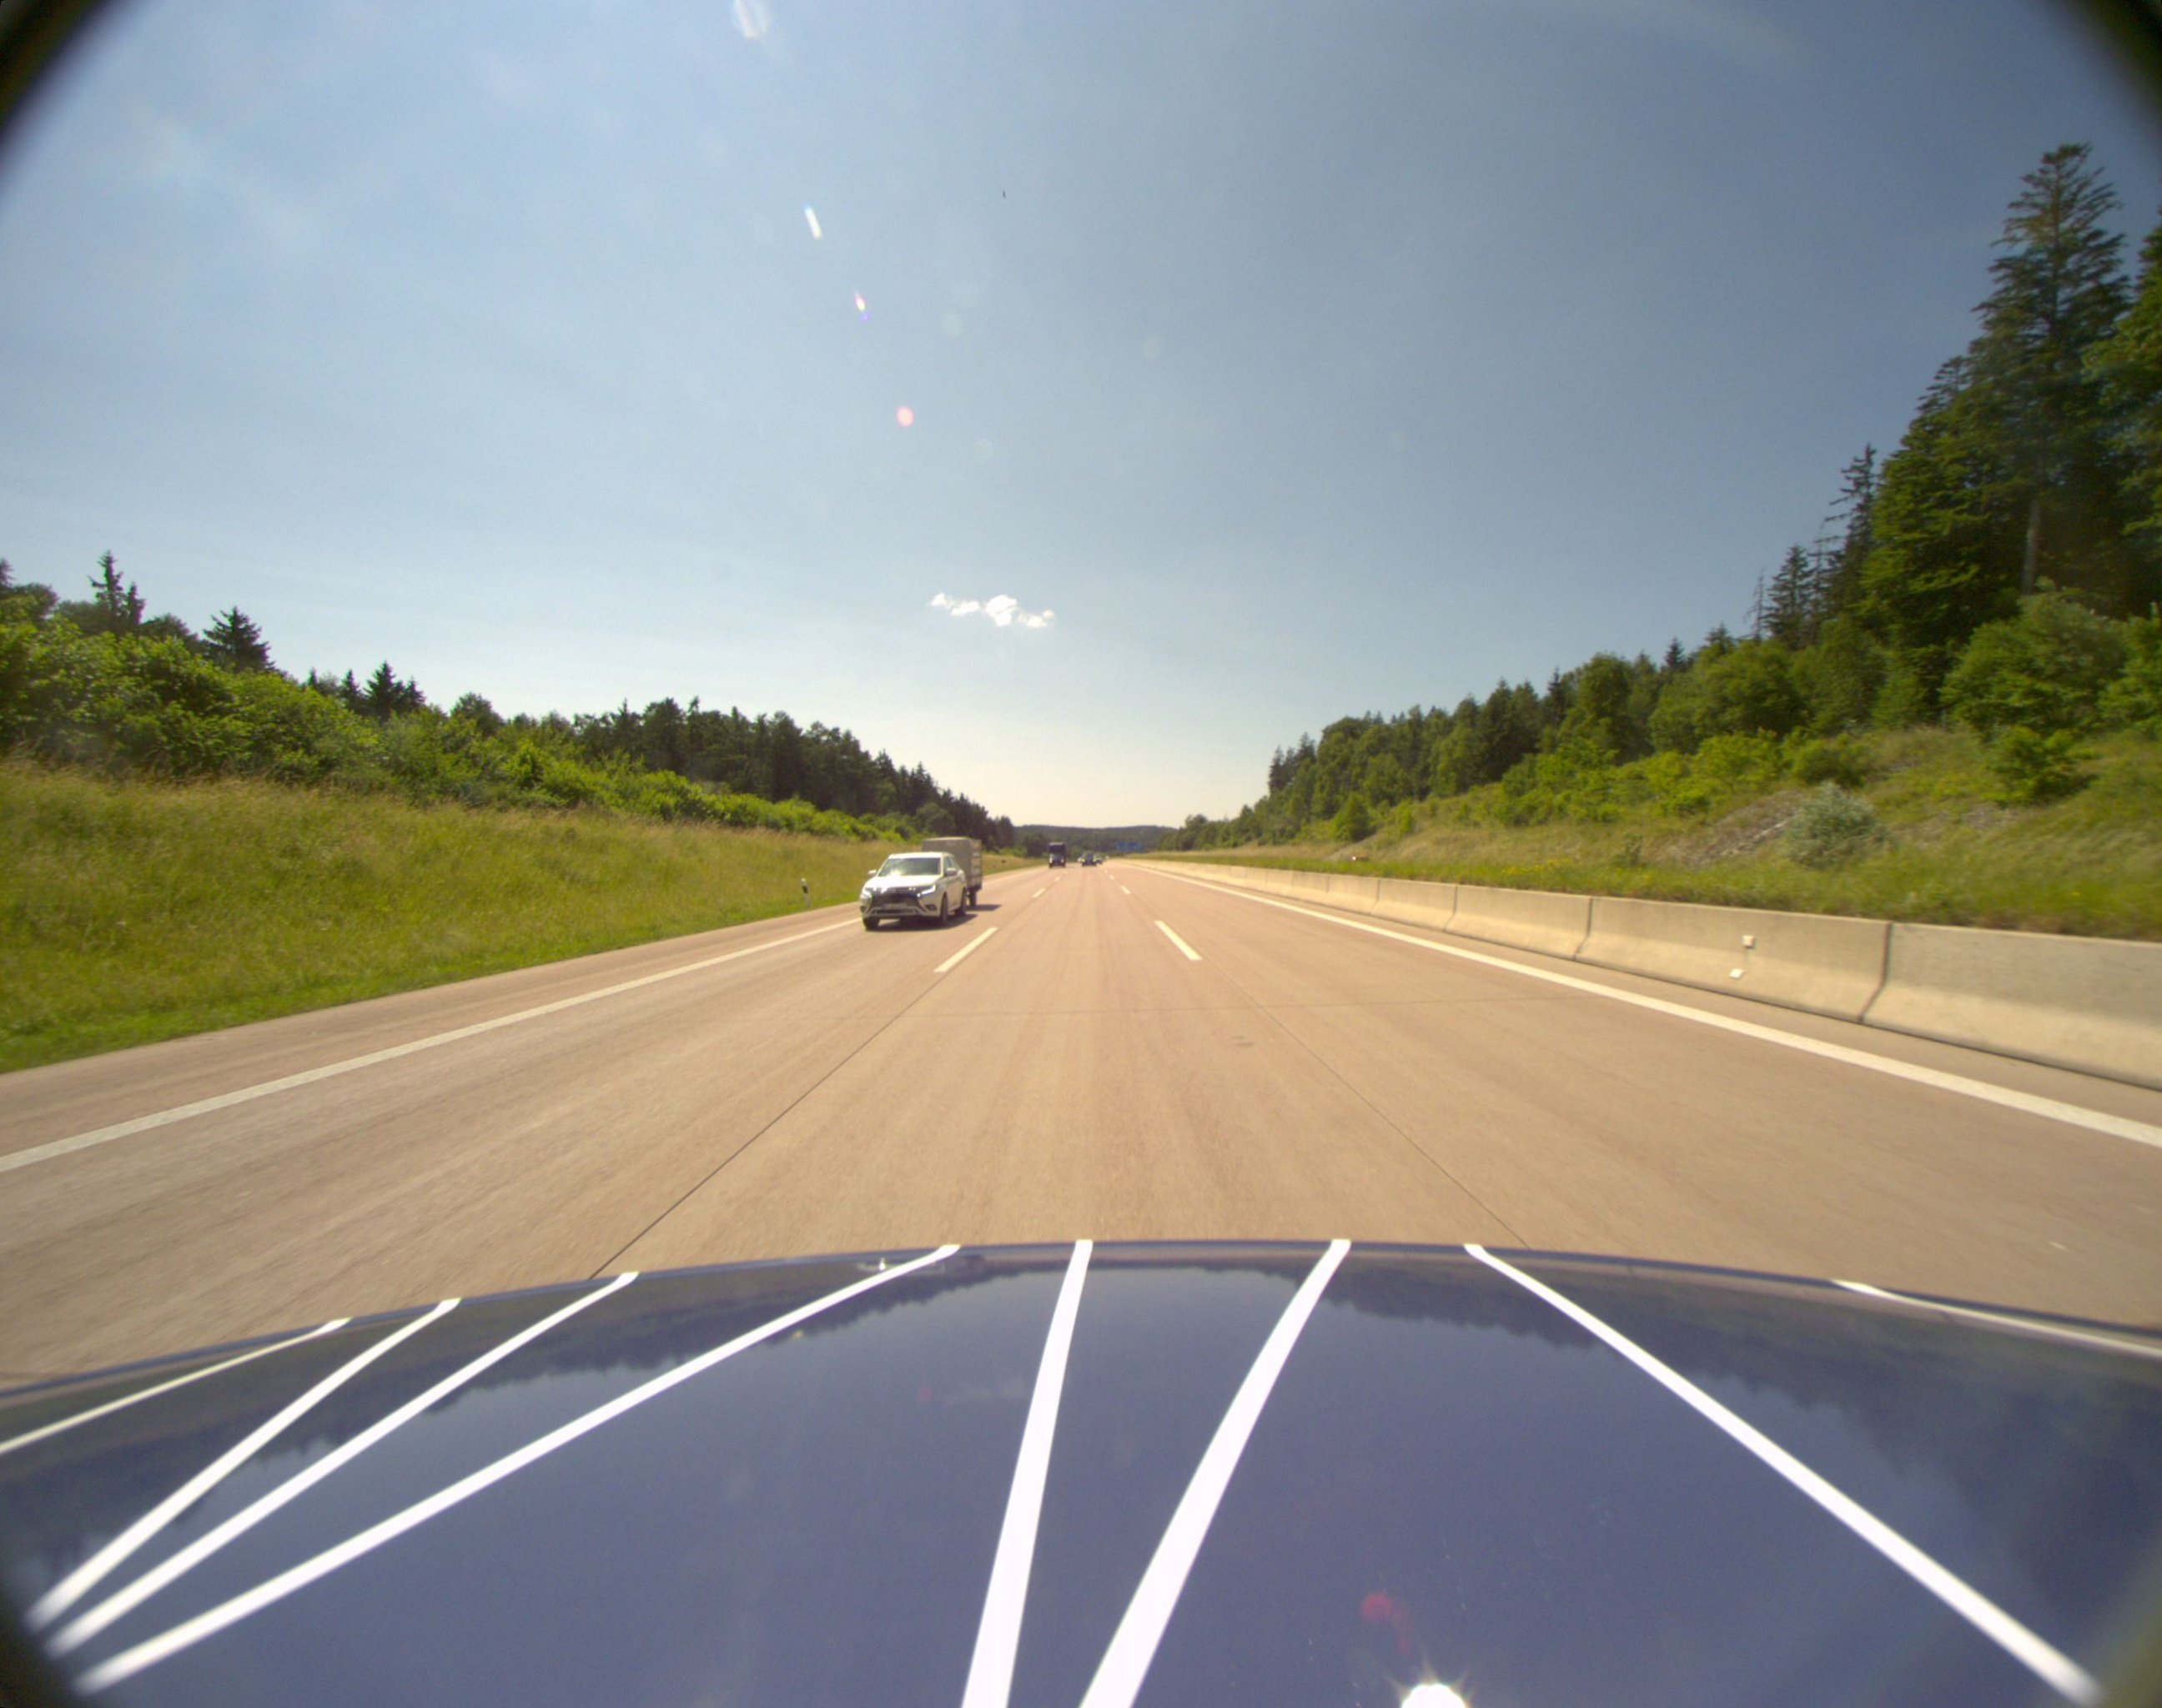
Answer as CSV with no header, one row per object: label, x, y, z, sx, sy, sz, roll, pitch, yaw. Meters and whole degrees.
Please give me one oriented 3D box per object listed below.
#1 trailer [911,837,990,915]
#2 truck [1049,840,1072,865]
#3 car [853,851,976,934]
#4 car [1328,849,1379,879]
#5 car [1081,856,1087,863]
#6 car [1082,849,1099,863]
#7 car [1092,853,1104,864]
trailer,-3.898,0.616,23.328,1.662,2.151,4.015,-2,0,0
truck,-2.694,-0.156,100.134,2.508,3.199,7.785,-2,0,2
car,-3.893,0.808,18.754,1.896,1.718,5.185,-2,0,-1
car,19.901,0.694,55.681,1.896,2.052,4.663,-2,0,-1
car,1.029,1.835,244.009,1.998,2.002,4.000,-2,0,0
car,1.273,0.202,101.121,1.998,1.805,4.565,-2,0,3
car,2.748,0.715,124.679,1.895,1.718,4.564,-2,0,0
